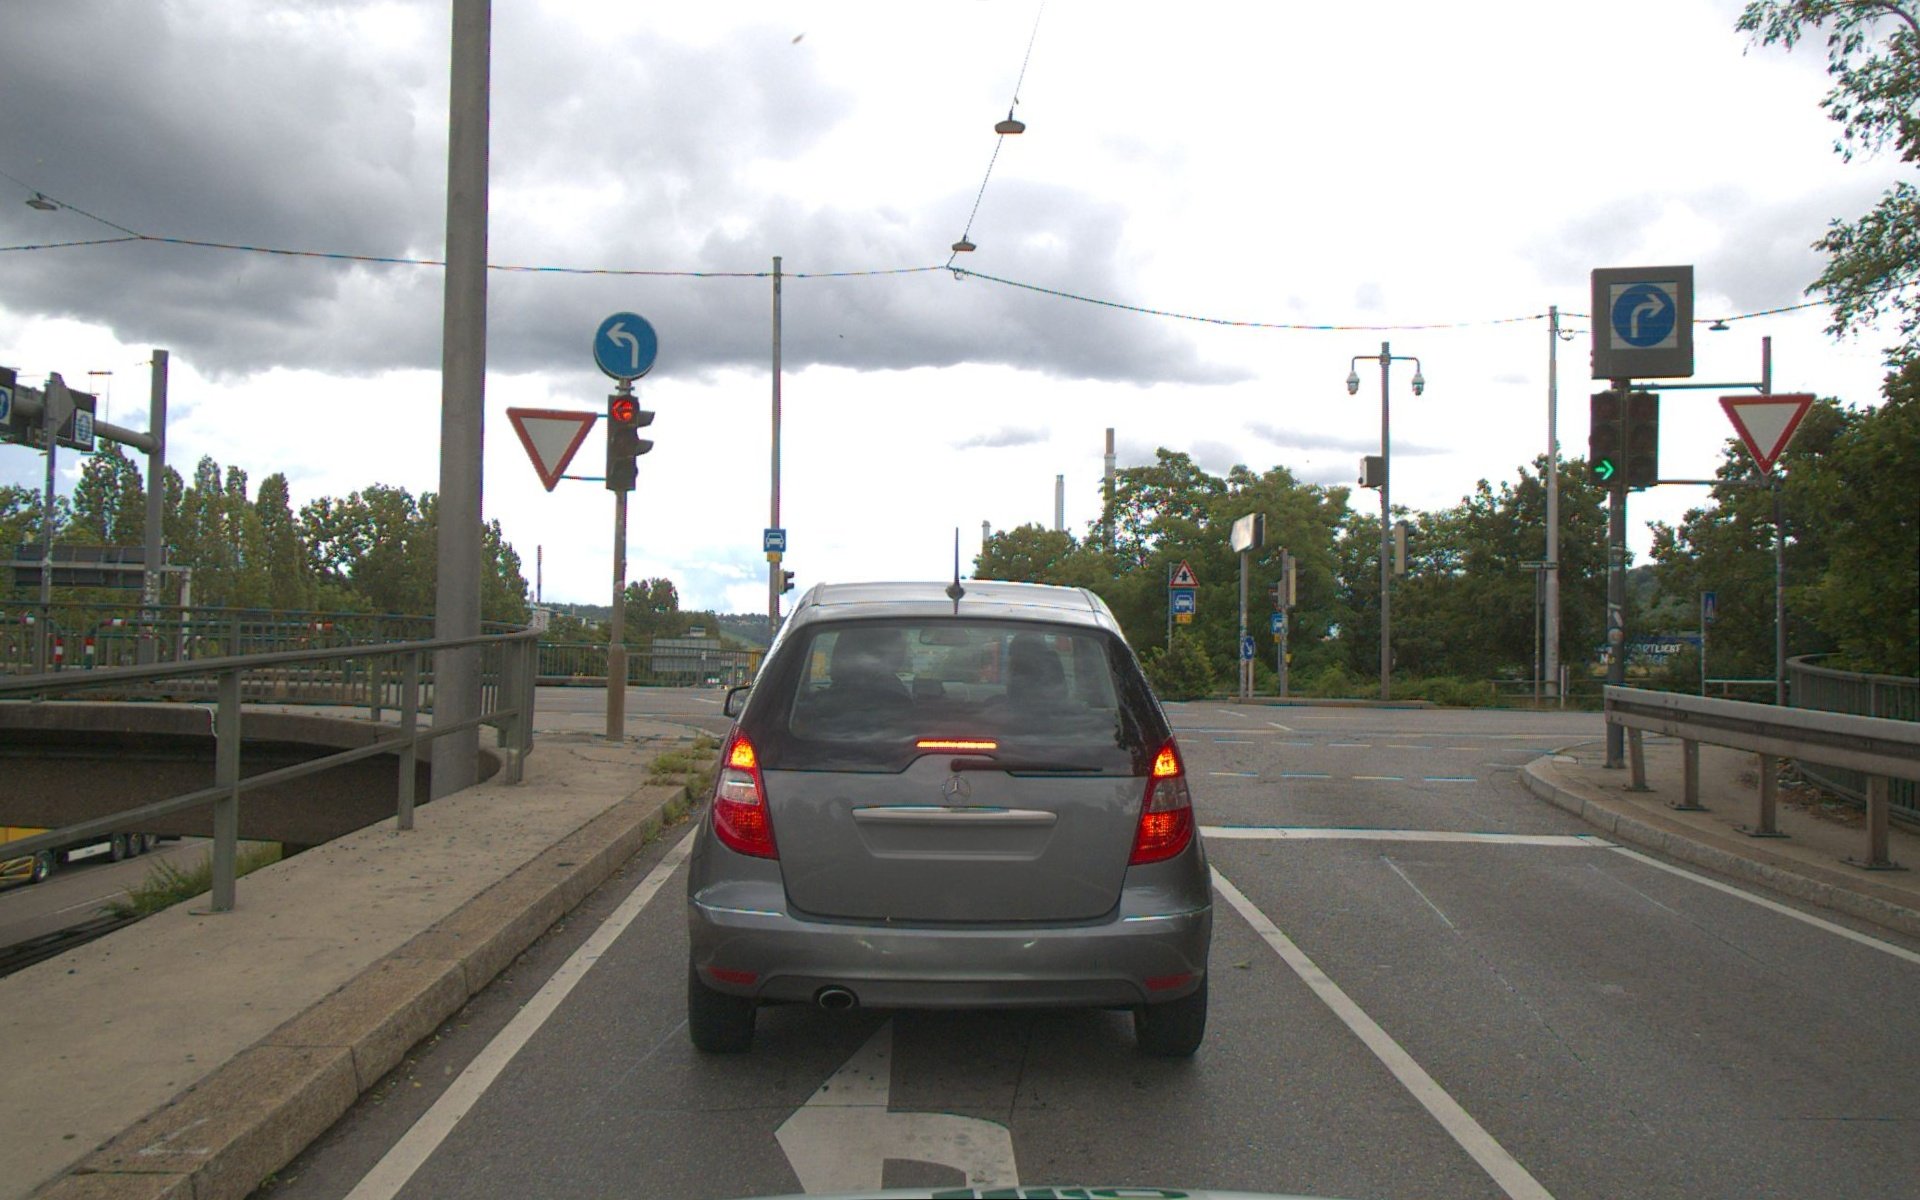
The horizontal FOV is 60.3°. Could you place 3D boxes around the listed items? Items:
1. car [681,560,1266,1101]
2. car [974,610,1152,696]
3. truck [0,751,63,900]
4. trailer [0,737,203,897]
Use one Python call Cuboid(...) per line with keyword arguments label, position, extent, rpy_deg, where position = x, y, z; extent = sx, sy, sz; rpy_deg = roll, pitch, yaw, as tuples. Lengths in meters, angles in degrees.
Cuboid(label="car", position=(0.025, 0.690, 6.655), extent=(1.704, 1.570, 3.540), rpy_deg=(1, 0, -1))
Cuboid(label="car", position=(3.372, 1.837, 56.537), extent=(2.411, 2.728, 7.690), rpy_deg=(1, -3, -28))
Cuboid(label="truck", position=(-30.333, 6.896, 50.213), extent=(3.176, 4.256, 5.799), rpy_deg=(-1, -2, -3))
Cuboid(label="trailer", position=(-30.639, 7.190, 57.138), extent=(3.176, 4.337, 13.670), rpy_deg=(-1, -3, -2))
